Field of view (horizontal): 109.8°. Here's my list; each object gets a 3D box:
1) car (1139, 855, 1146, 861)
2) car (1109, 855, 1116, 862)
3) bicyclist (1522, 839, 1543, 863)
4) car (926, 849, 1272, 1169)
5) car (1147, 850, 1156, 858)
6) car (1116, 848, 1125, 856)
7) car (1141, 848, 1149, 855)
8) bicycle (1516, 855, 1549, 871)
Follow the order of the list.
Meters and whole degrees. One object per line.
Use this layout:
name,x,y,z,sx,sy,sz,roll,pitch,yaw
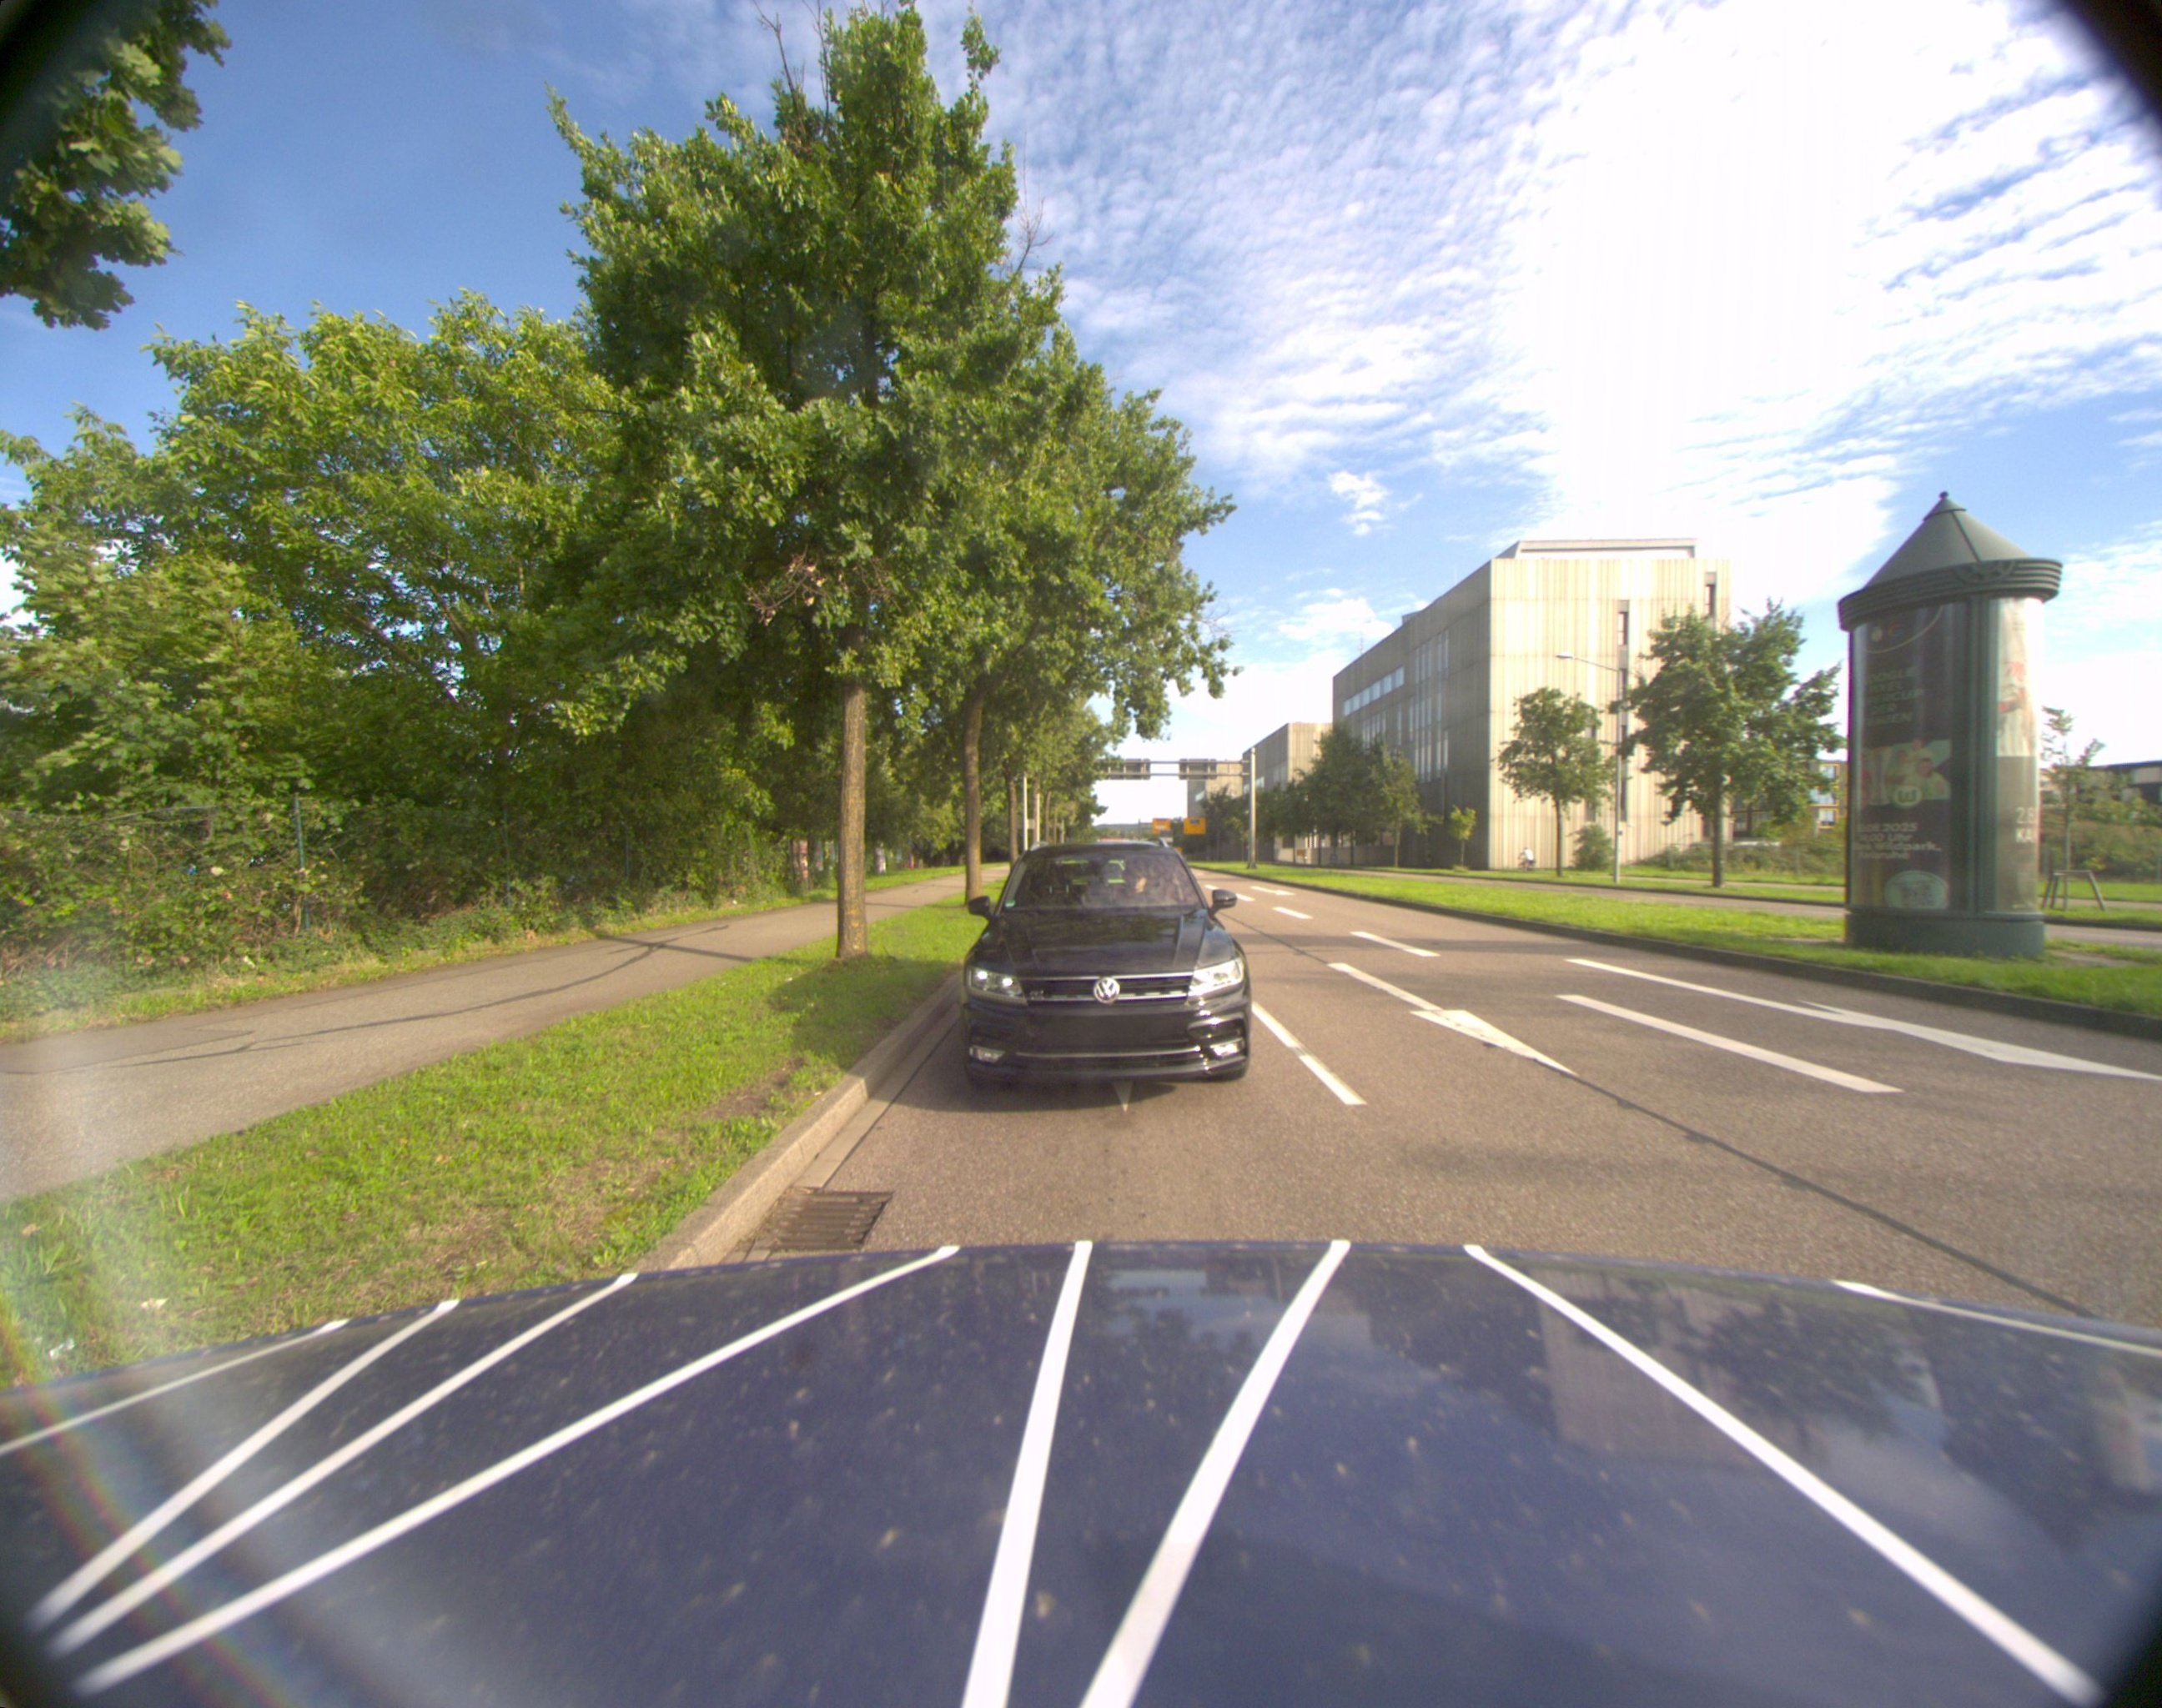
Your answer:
car,18.653,1.179,231.367,1.998,2.002,4.000,0,0,0
car,9.858,1.393,235.926,1.998,2.002,4.000,0,0,0
bicyclist,28.071,-0.186,47.214,0.707,1.517,0.989,0,1,1
car,0.150,0.814,5.947,1.775,1.637,3.868,-2,1,2
car,17.930,-0.131,193.350,1.998,2.002,4.000,0,0,0
car,7.692,-0.342,147.248,1.745,1.455,4.000,-1,1,3
car,17.448,-0.759,206.682,1.998,2.002,4.000,0,0,0
bicycle,28.097,0.543,47.285,0.897,0.975,1.911,0,0,1
